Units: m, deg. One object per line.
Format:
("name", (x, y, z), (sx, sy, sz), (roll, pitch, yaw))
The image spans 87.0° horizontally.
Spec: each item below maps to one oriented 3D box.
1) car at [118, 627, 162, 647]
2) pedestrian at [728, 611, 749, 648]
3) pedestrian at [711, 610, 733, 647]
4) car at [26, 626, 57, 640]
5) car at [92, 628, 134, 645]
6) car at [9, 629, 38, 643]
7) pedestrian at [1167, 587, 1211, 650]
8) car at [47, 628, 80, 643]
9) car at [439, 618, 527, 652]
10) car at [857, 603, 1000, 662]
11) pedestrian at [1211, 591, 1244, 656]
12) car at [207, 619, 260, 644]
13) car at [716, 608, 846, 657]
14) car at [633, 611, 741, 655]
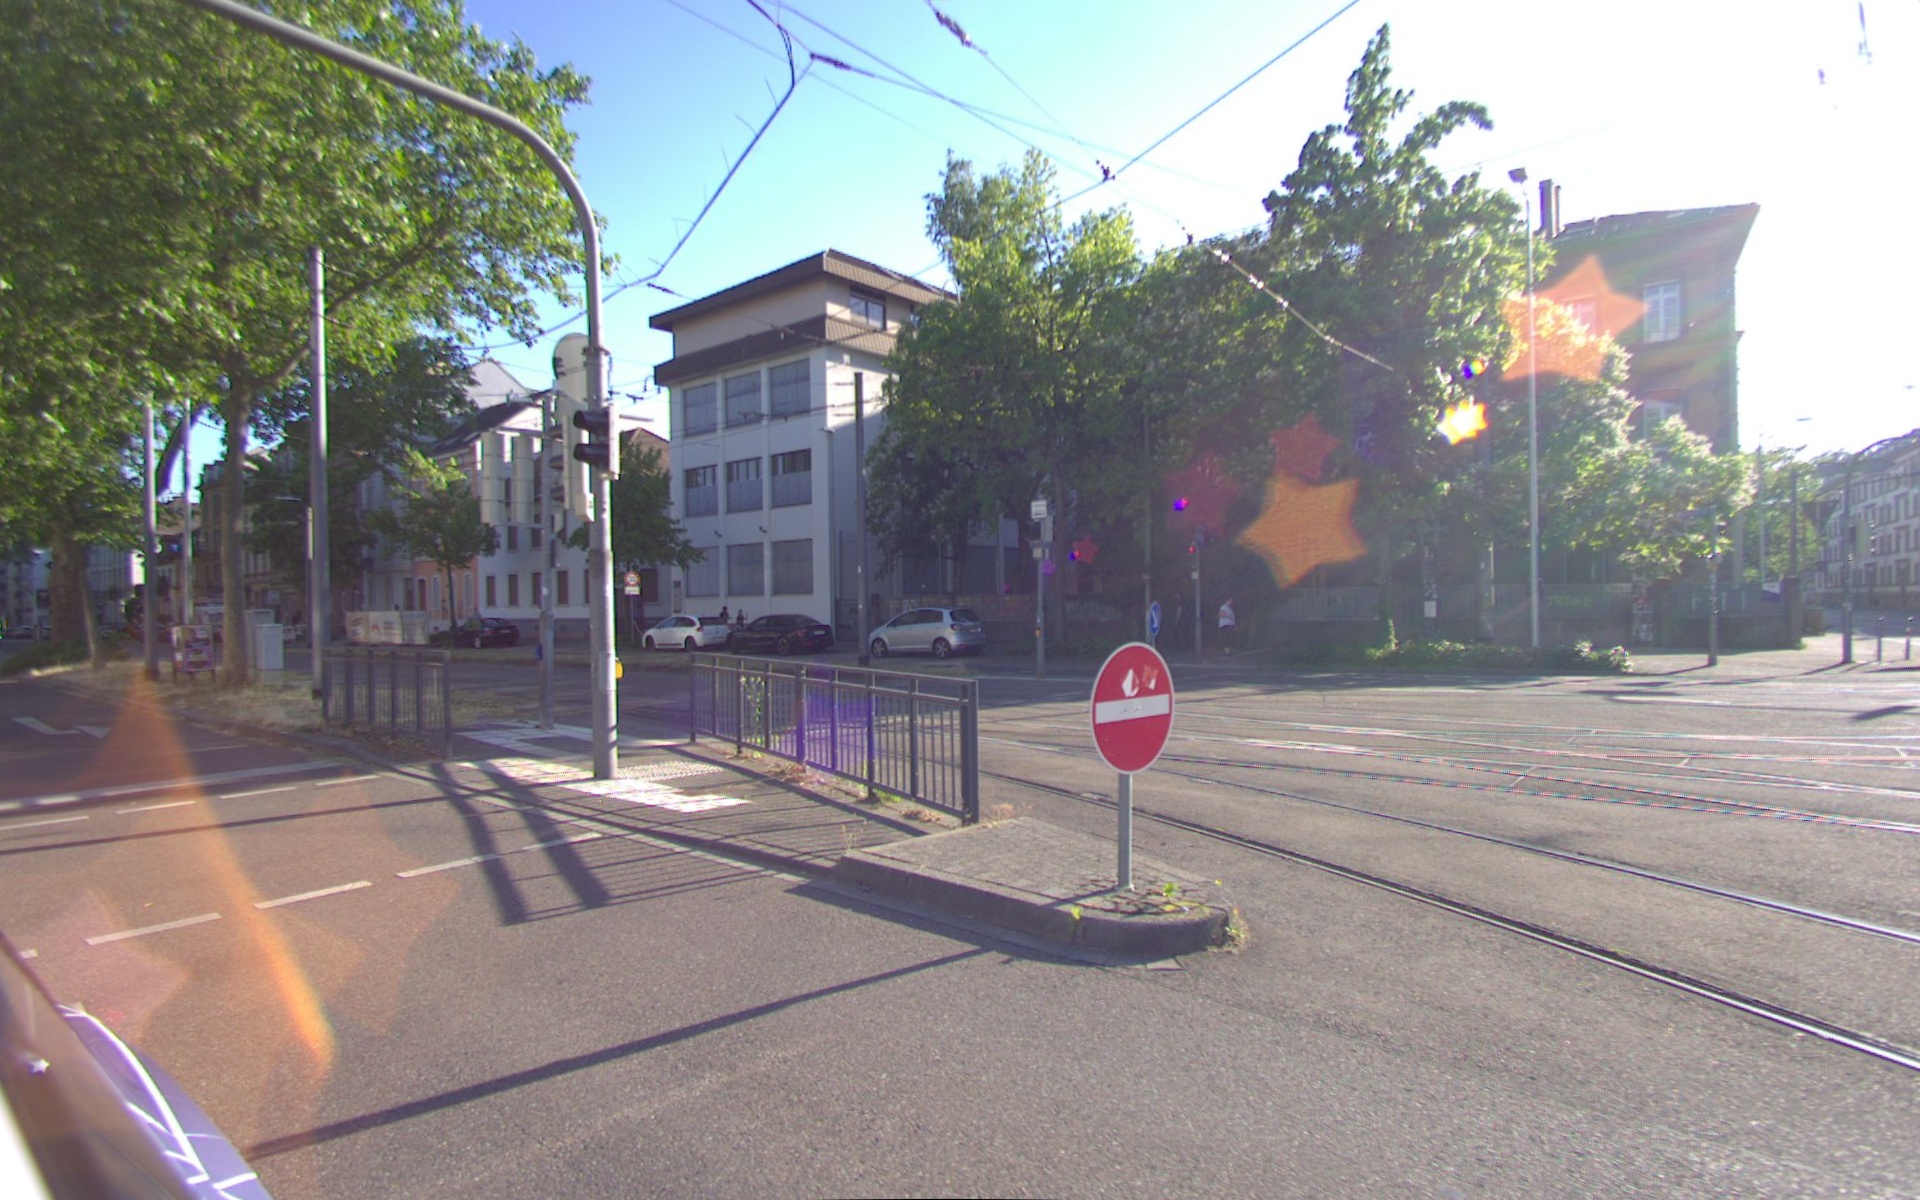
("car", (-73.655, 3.319, 90.882), (4.510, 1.551, 2.062), (-2, 2, 38))
("pedestrian", (-9.423, 1.254, 43.098), (0.711, 1.540, 0.530), (-2, -1, 40))
("pedestrian", (-9.970, 1.200, 42.380), (0.710, 1.540, 0.531), (-2, -1, 34))
("car", (-110.607, 3.975, 121.827), (4.003, 1.551, 2.062), (-2, 2, 38))
("car", (-83.400, 3.599, 99.634), (5.098, 1.551, 2.062), (-2, 2, 38))
("car", (-122.126, 4.678, 131.949), (4.114, 1.551, 2.062), (-2, 2, 38))
("pedestrian", (6.620, 0.537, 29.259), (1.018, 1.765, 0.727), (-2, -1, 38))
("car", (-102.389, 4.010, 115.595), (4.250, 1.551, 2.062), (-2, 2, 38))
("car", (-23.809, 1.723, 50.429), (4.573, 1.481, 2.062), (-2, 2, 38))
("car", (-1.030, 1.004, 31.853), (4.092, 1.631, 2.062), (-2, 2, 38))
("pedestrian", (7.132, 0.614, 26.956), (0.630, 1.677, 0.562), (-2, 2, 38))
("car", (-55.409, 2.411, 77.167), (4.526, 1.686, 2.062), (-2, 2, 38))
("car", (-6.393, 1.134, 36.021), (4.451, 1.513, 2.062), (-2, 2, 38))
("car", (-10.748, 1.283, 39.758), (3.991, 1.501, 2.062), (-2, 2, 38))
